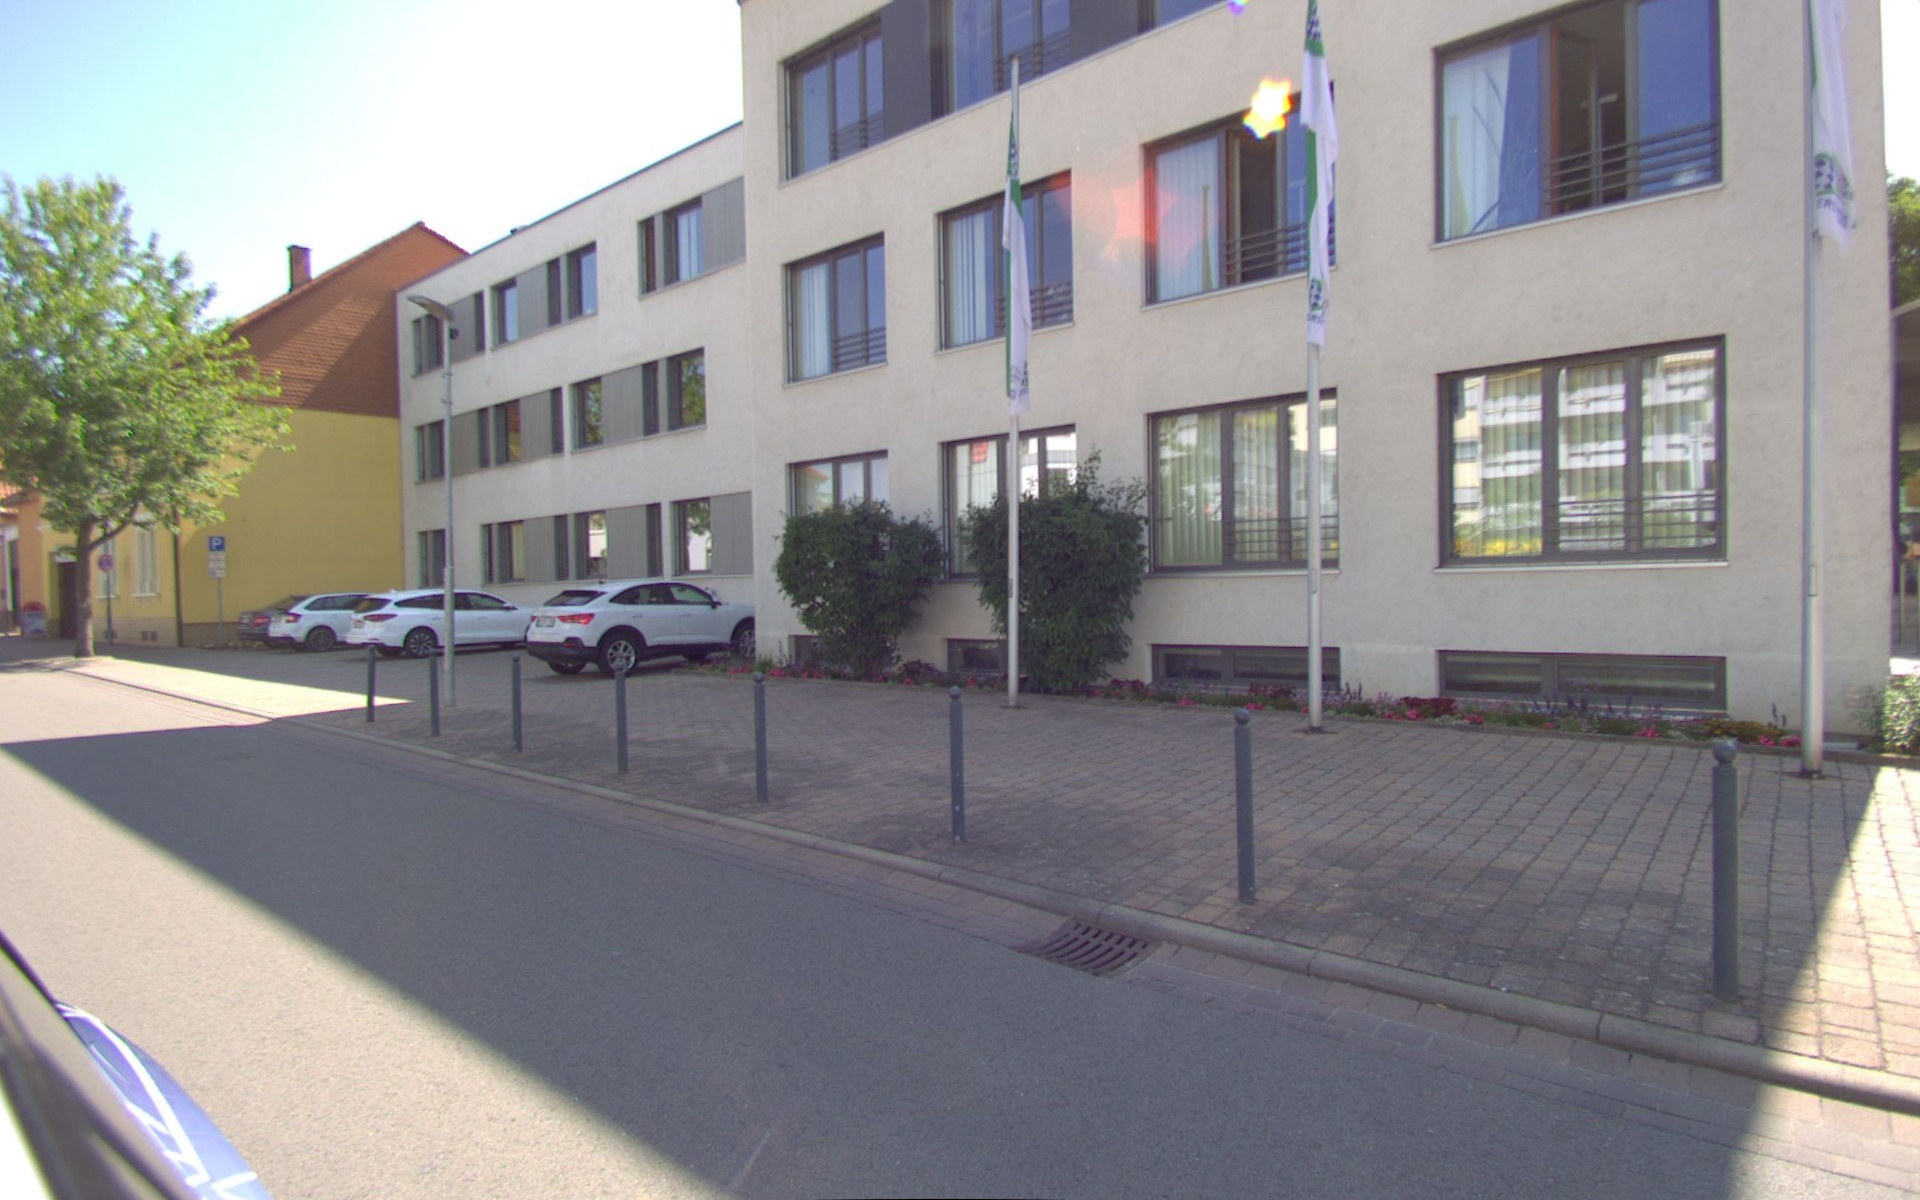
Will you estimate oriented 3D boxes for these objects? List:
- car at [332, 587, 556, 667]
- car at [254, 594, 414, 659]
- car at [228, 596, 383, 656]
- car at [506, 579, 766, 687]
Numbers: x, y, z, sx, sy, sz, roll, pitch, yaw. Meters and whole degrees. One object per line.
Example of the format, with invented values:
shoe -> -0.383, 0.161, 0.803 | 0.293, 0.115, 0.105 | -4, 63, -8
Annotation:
car -> -11.612, 0.540, 23.036 | 1.512, 1.490, 4.270 | 0, 2, 40
car -> -15.975, 0.636, 25.904 | 1.642, 1.461, 3.099 | -1, 2, 41
car -> -17.629, 0.672, 27.370 | 1.373, 1.412, 3.218 | -1, 2, 38
car -> -5.472, 0.476, 17.502 | 1.747, 1.559, 3.949 | -1, 2, 38
